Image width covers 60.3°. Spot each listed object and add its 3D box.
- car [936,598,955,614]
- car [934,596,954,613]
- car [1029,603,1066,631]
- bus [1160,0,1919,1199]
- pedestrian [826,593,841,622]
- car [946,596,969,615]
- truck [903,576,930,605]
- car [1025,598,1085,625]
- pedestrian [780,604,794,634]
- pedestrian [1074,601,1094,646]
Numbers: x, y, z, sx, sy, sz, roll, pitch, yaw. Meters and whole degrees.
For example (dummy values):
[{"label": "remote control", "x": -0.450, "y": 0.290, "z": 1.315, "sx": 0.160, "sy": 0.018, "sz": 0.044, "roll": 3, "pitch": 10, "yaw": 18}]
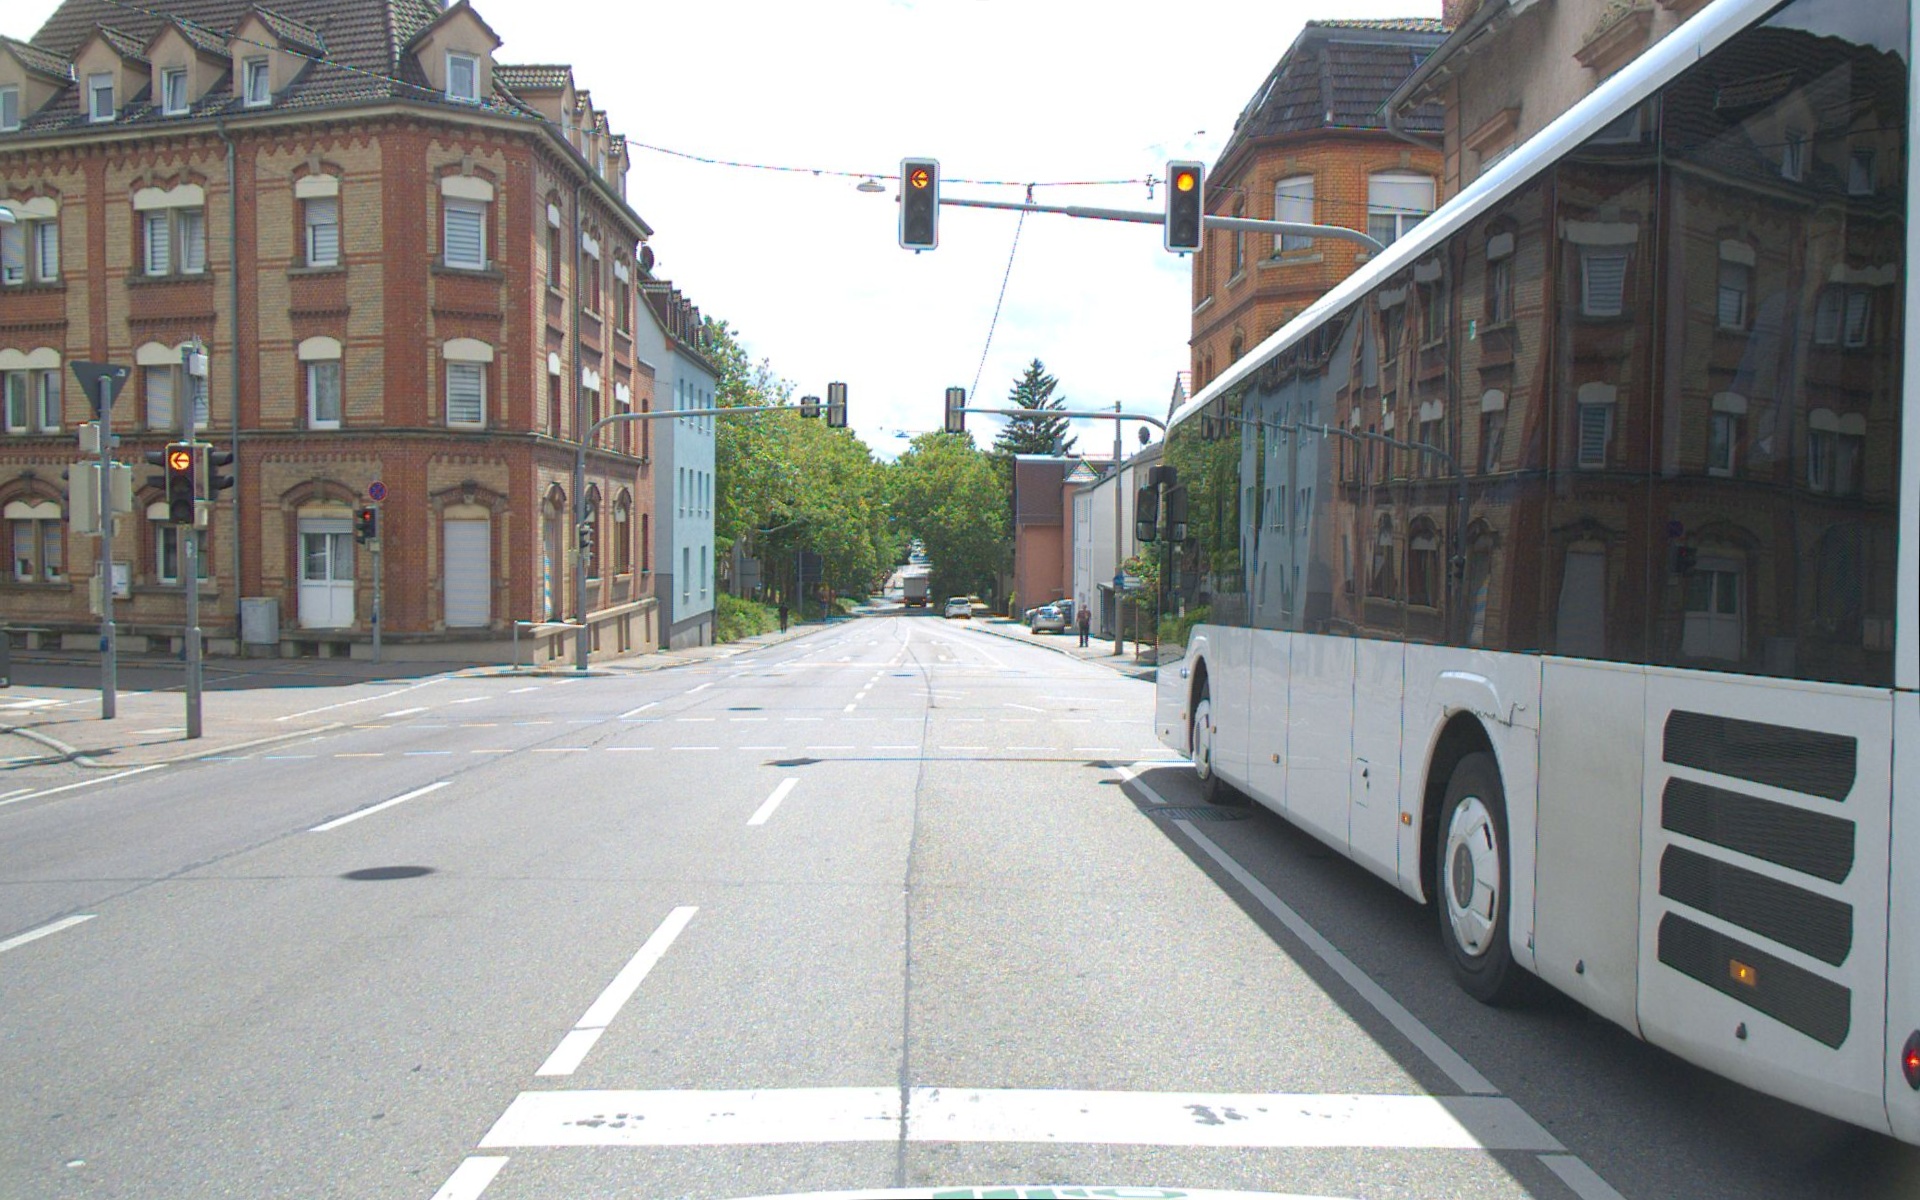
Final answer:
[{"label": "car", "x": -1.336, "y": 0.520, "z": 153.900, "sx": 1.757, "sy": 1.434, "sz": 4.418, "roll": 1, "pitch": 0, "yaw": 0}, {"label": "car", "x": -1.405, "y": 0.409, "z": 145.735, "sx": 1.757, "sy": 1.434, "sz": 4.418, "roll": 1, "pitch": 0, "yaw": 0}, {"label": "car", "x": 4.914, "y": 0.951, "z": 93.127, "sx": 1.758, "sy": 1.434, "sz": 3.999, "roll": -1, "pitch": 1, "yaw": -2}, {"label": "bus", "x": 3.266, "y": -0.137, "z": 9.283, "sx": 2.618, "sy": 3.211, "sz": 12.459, "roll": 0, "pitch": 0, "yaw": -1}, {"label": "pedestrian", "x": -9.120, "y": 0.519, "z": 119.362, "sx": 0.974, "sy": 2.049, "sz": 1.188, "roll": 0, "pitch": 0, "yaw": -1}, {"label": "car", "x": -0.197, "y": 0.461, "z": 129.510, "sx": 1.758, "sy": 1.434, "sz": 3.999, "roll": 1, "pitch": 0, "yaw": -1}, {"label": "truck", "x": -5.012, "y": -1.066, "z": 188.069, "sx": 2.868, "sy": 3.135, "sz": 7.881, "roll": -1, "pitch": 0, "yaw": -3}, {"label": "car", "x": 6.487, "y": 0.784, "z": 113.252, "sx": 3.909, "sy": 1.788, "sz": 1.998, "roll": -1, "pitch": 0, "yaw": -6}, {"label": "pedestrian", "x": -9.351, "y": 1.019, "z": 89.264, "sx": 0.714, "sy": 1.592, "sz": 0.560, "roll": 0, "pitch": 0, "yaw": -2}, {"label": "pedestrian", "x": 5.056, "y": 0.950, "z": 67.350, "sx": 0.723, "sy": 1.781, "sz": 0.619, "roll": -1, "pitch": 0, "yaw": -1}]
